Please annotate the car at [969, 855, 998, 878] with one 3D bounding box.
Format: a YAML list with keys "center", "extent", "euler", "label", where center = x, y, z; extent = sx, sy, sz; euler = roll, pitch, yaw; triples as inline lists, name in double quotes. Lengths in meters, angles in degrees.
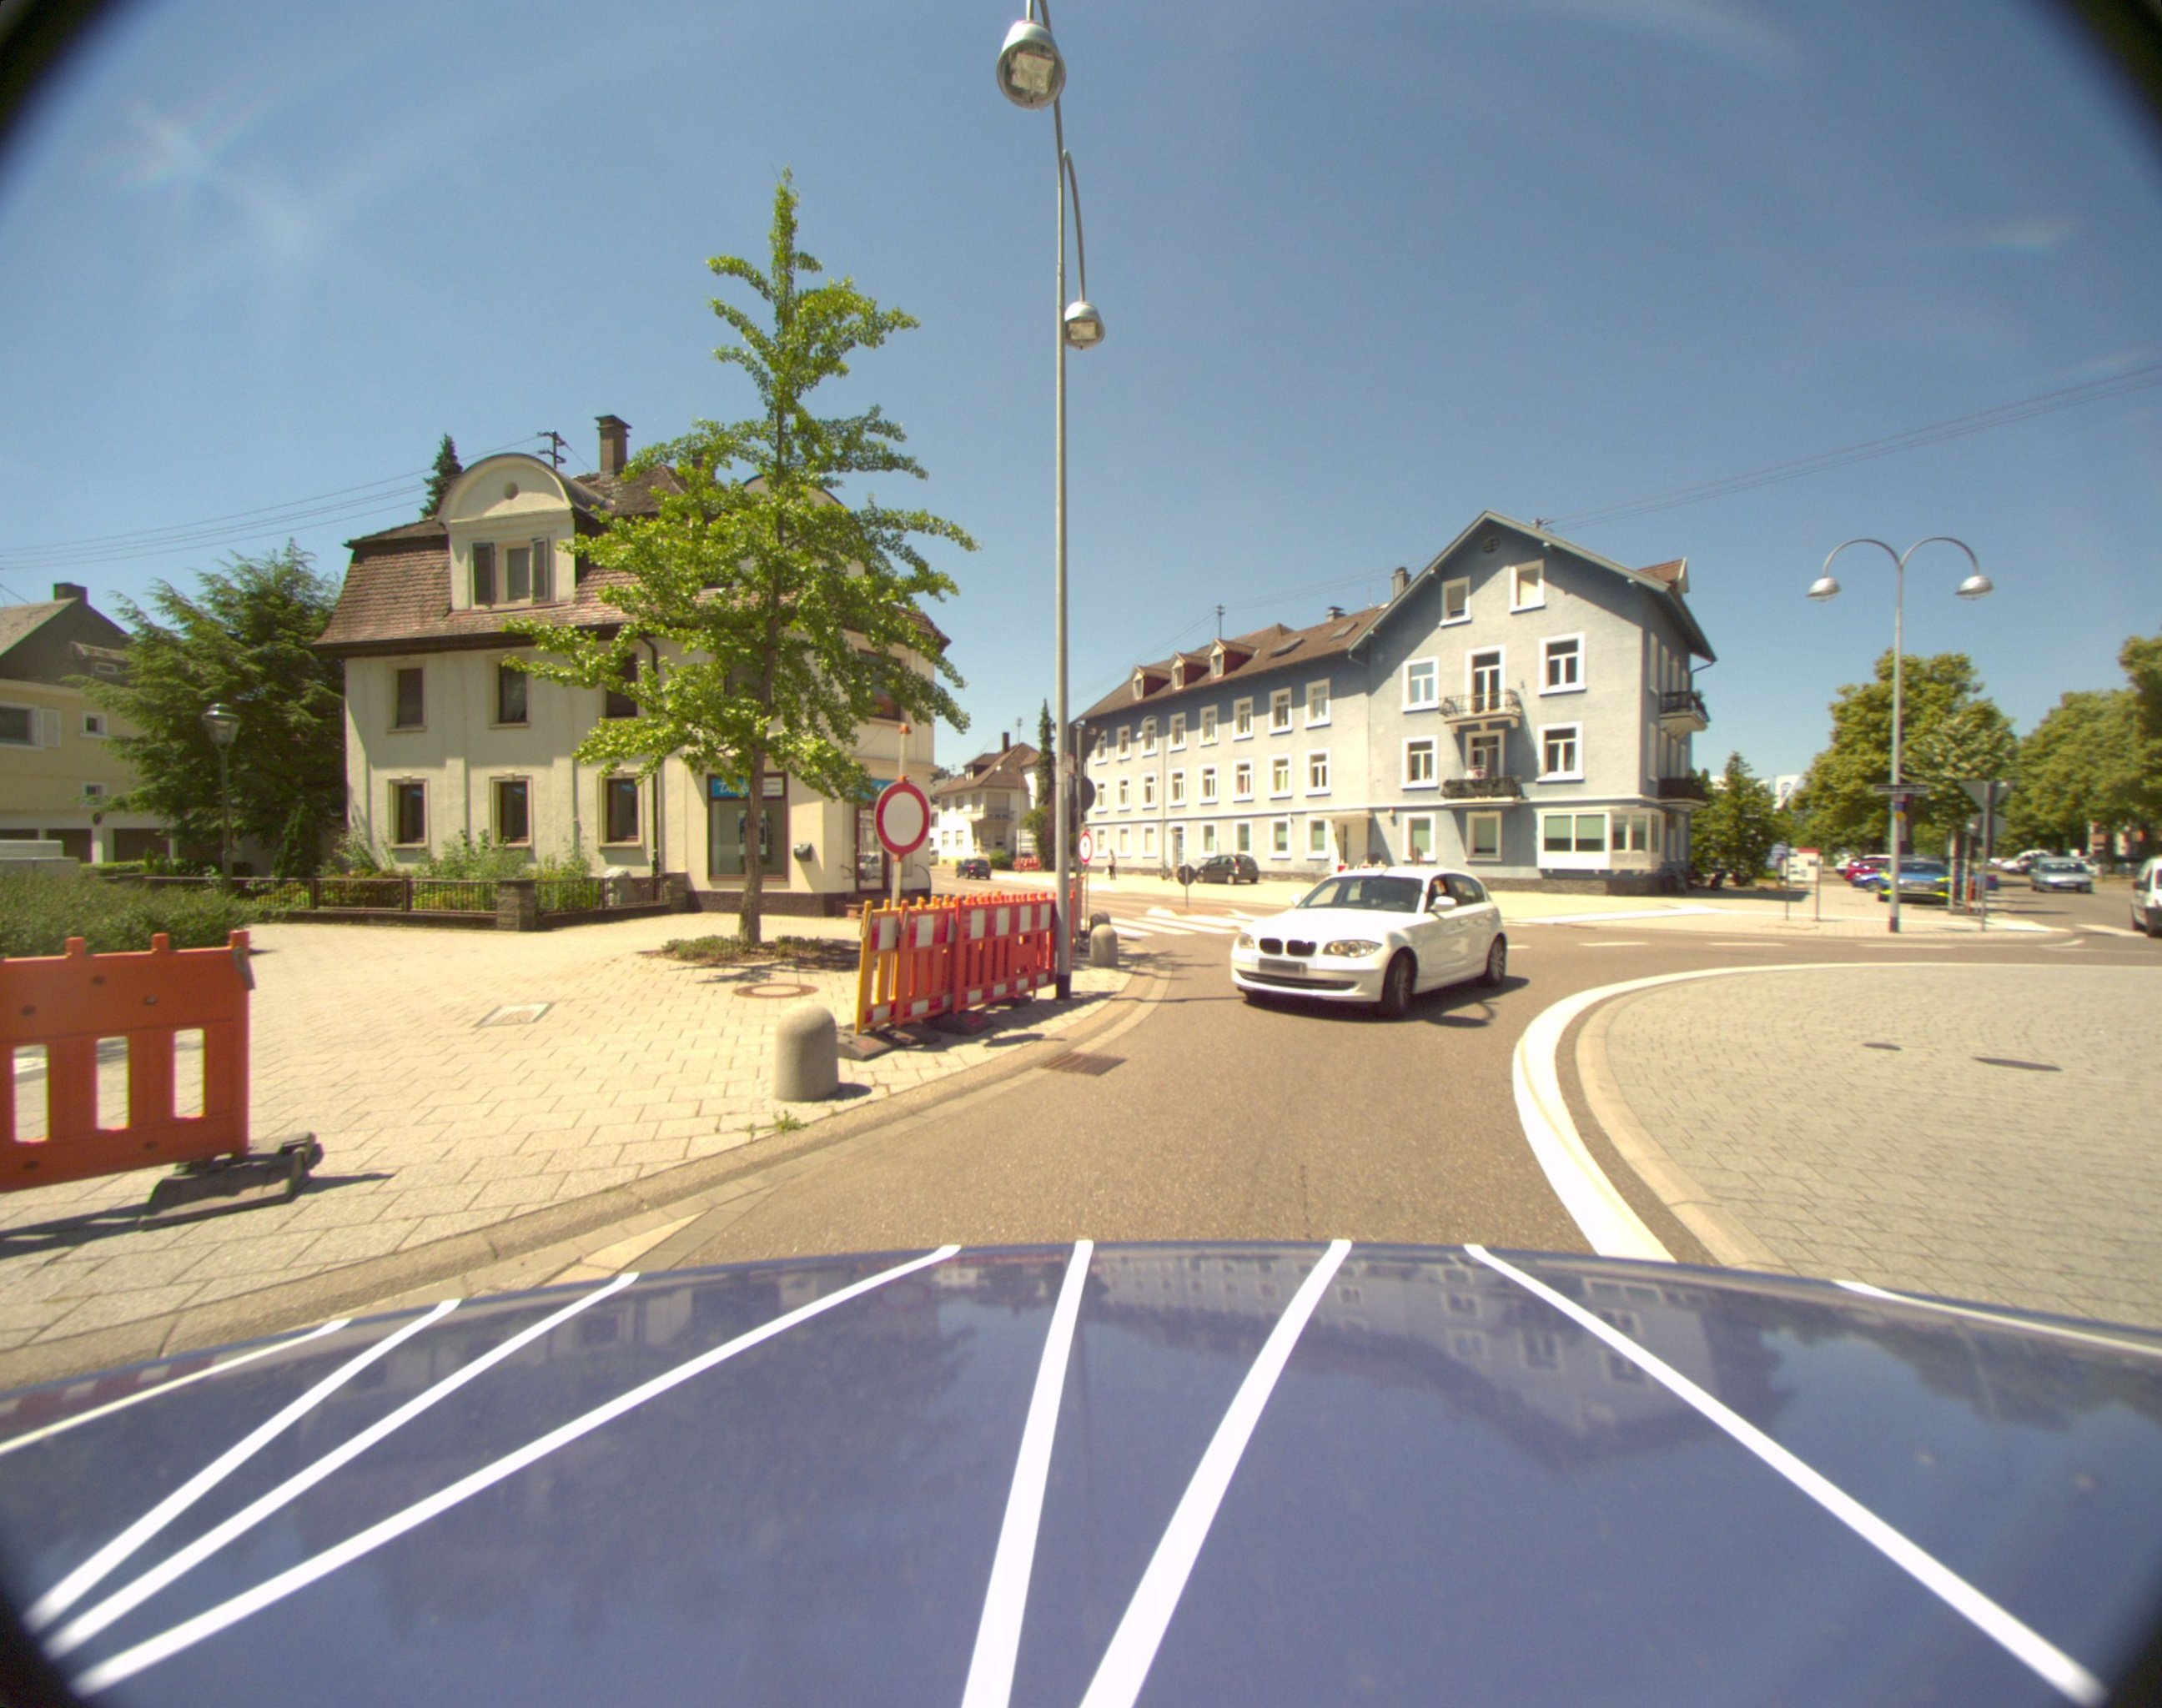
- center: [-6.790, 0.842, 52.650]
  extent: [1.665, 1.444, 4.018]
  euler: [2, 1, -11]
  label: "car"

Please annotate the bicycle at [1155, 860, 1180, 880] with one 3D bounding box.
- center: [4.846, 0.902, 42.673]
  extent: [0.498, 0.972, 1.969]
  euler: [-5, 3, -19]
  label: "bicycle"

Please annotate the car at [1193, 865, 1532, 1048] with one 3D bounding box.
- center: [3.306, 0.906, 8.523]
  extent: [4.137, 1.542, 1.782]
  euler: [0, 0, -40]
  label: "car"

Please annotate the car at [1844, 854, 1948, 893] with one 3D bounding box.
- center: [46.555, 1.061, 43.519]
  extent: [2.004, 2.002, 3.988]
  euler: [-3, 2, -44]
  label: "car"

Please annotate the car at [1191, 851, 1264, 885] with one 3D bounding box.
- center: [7.464, 0.688, 39.058]
  extent: [1.585, 1.526, 3.765]
  euler: [-1, 2, -29]
  label: "car"

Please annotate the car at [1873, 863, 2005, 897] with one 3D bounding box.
- center: [40.233, 1.182, 35.794]
  extent: [1.664, 1.352, 4.020]
  euler: [-5, 4, -44]
  label: "car"

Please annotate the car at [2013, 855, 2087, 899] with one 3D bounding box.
- center: [49.994, 1.128, 39.285]
  extent: [4.007, 2.002, 1.994]
  euler: [-2, 2, -43]
  label: "car"

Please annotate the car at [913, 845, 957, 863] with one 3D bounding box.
- center: [-16.055, 0.049, 83.886]
  extent: [4.374, 1.866, 1.845]
  euler: [2, 0, -36]
  label: "car"

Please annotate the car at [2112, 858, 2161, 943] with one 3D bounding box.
- center: [25.059, 1.006, 17.128]
  extent: [4.252, 1.767, 1.776]
  euler: [-1, 0, -41]
  label: "car"

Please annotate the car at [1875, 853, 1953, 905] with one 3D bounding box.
- center: [31.131, 0.871, 28.495]
  extent: [4.252, 1.767, 1.776]
  euler: [-1, 1, -45]
  label: "car"
